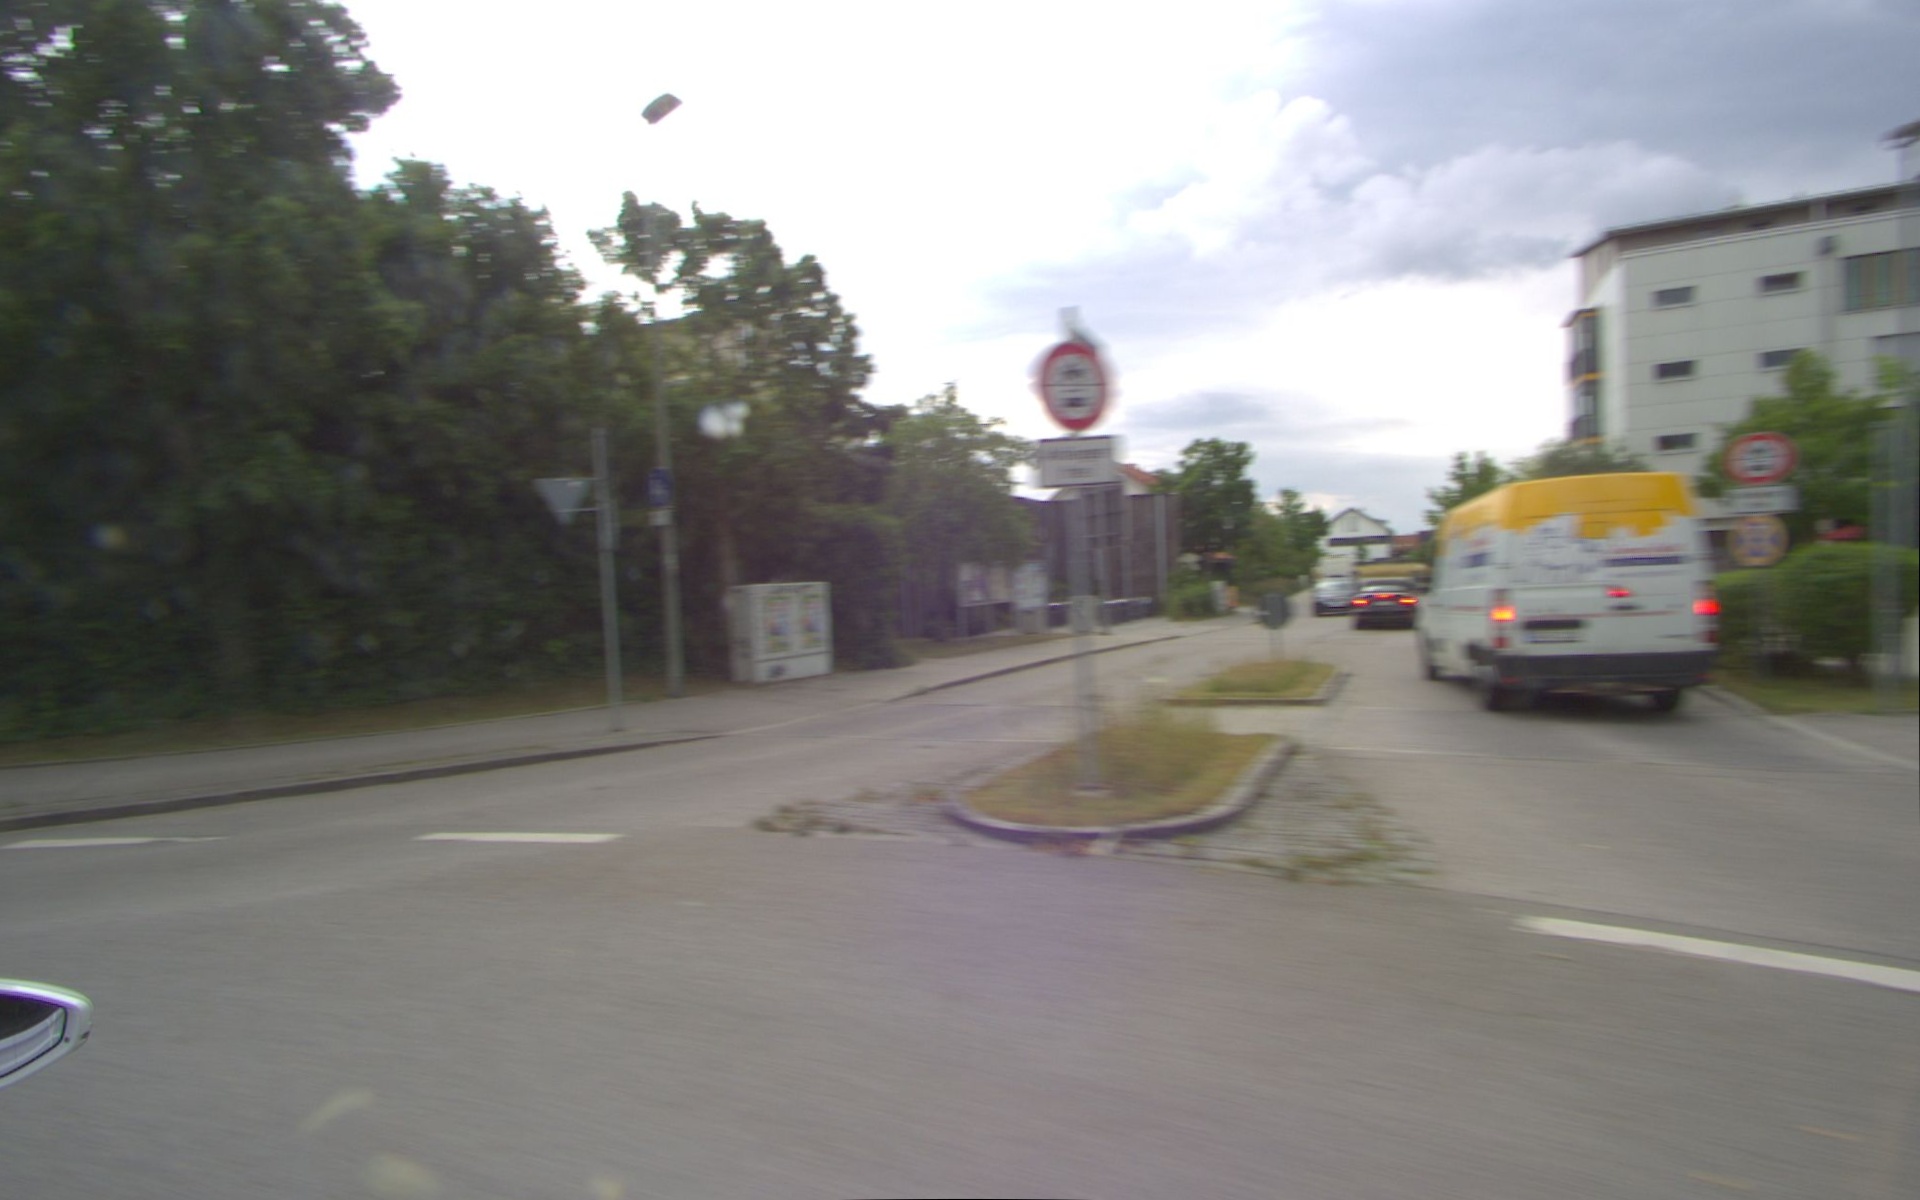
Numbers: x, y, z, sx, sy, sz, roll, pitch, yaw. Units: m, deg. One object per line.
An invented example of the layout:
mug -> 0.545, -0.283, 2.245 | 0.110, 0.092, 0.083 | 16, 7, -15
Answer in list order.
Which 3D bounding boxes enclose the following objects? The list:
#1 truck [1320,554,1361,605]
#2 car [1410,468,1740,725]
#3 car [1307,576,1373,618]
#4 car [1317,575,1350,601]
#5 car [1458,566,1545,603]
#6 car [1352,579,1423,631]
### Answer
truck -> 25.046, -1.286, 65.784 | 2.134, 3.116, 5.394 | -2, -1, 24
car -> 7.251, -0.041, 12.583 | 2.130, 2.485, 5.433 | -1, 1, 16
car -> 15.311, -0.142, 40.236 | 1.775, 1.483, 3.978 | -2, 1, 31
car -> 22.178, -0.741, 59.424 | 1.517, 1.397, 3.498 | -3, 0, 25
car -> 29.649, -0.830, 54.876 | 3.923, 1.755, 1.654 | -3, 0, -7
car -> 12.629, 0.124, 29.522 | 1.772, 1.349, 3.985 | -2, 1, 25
